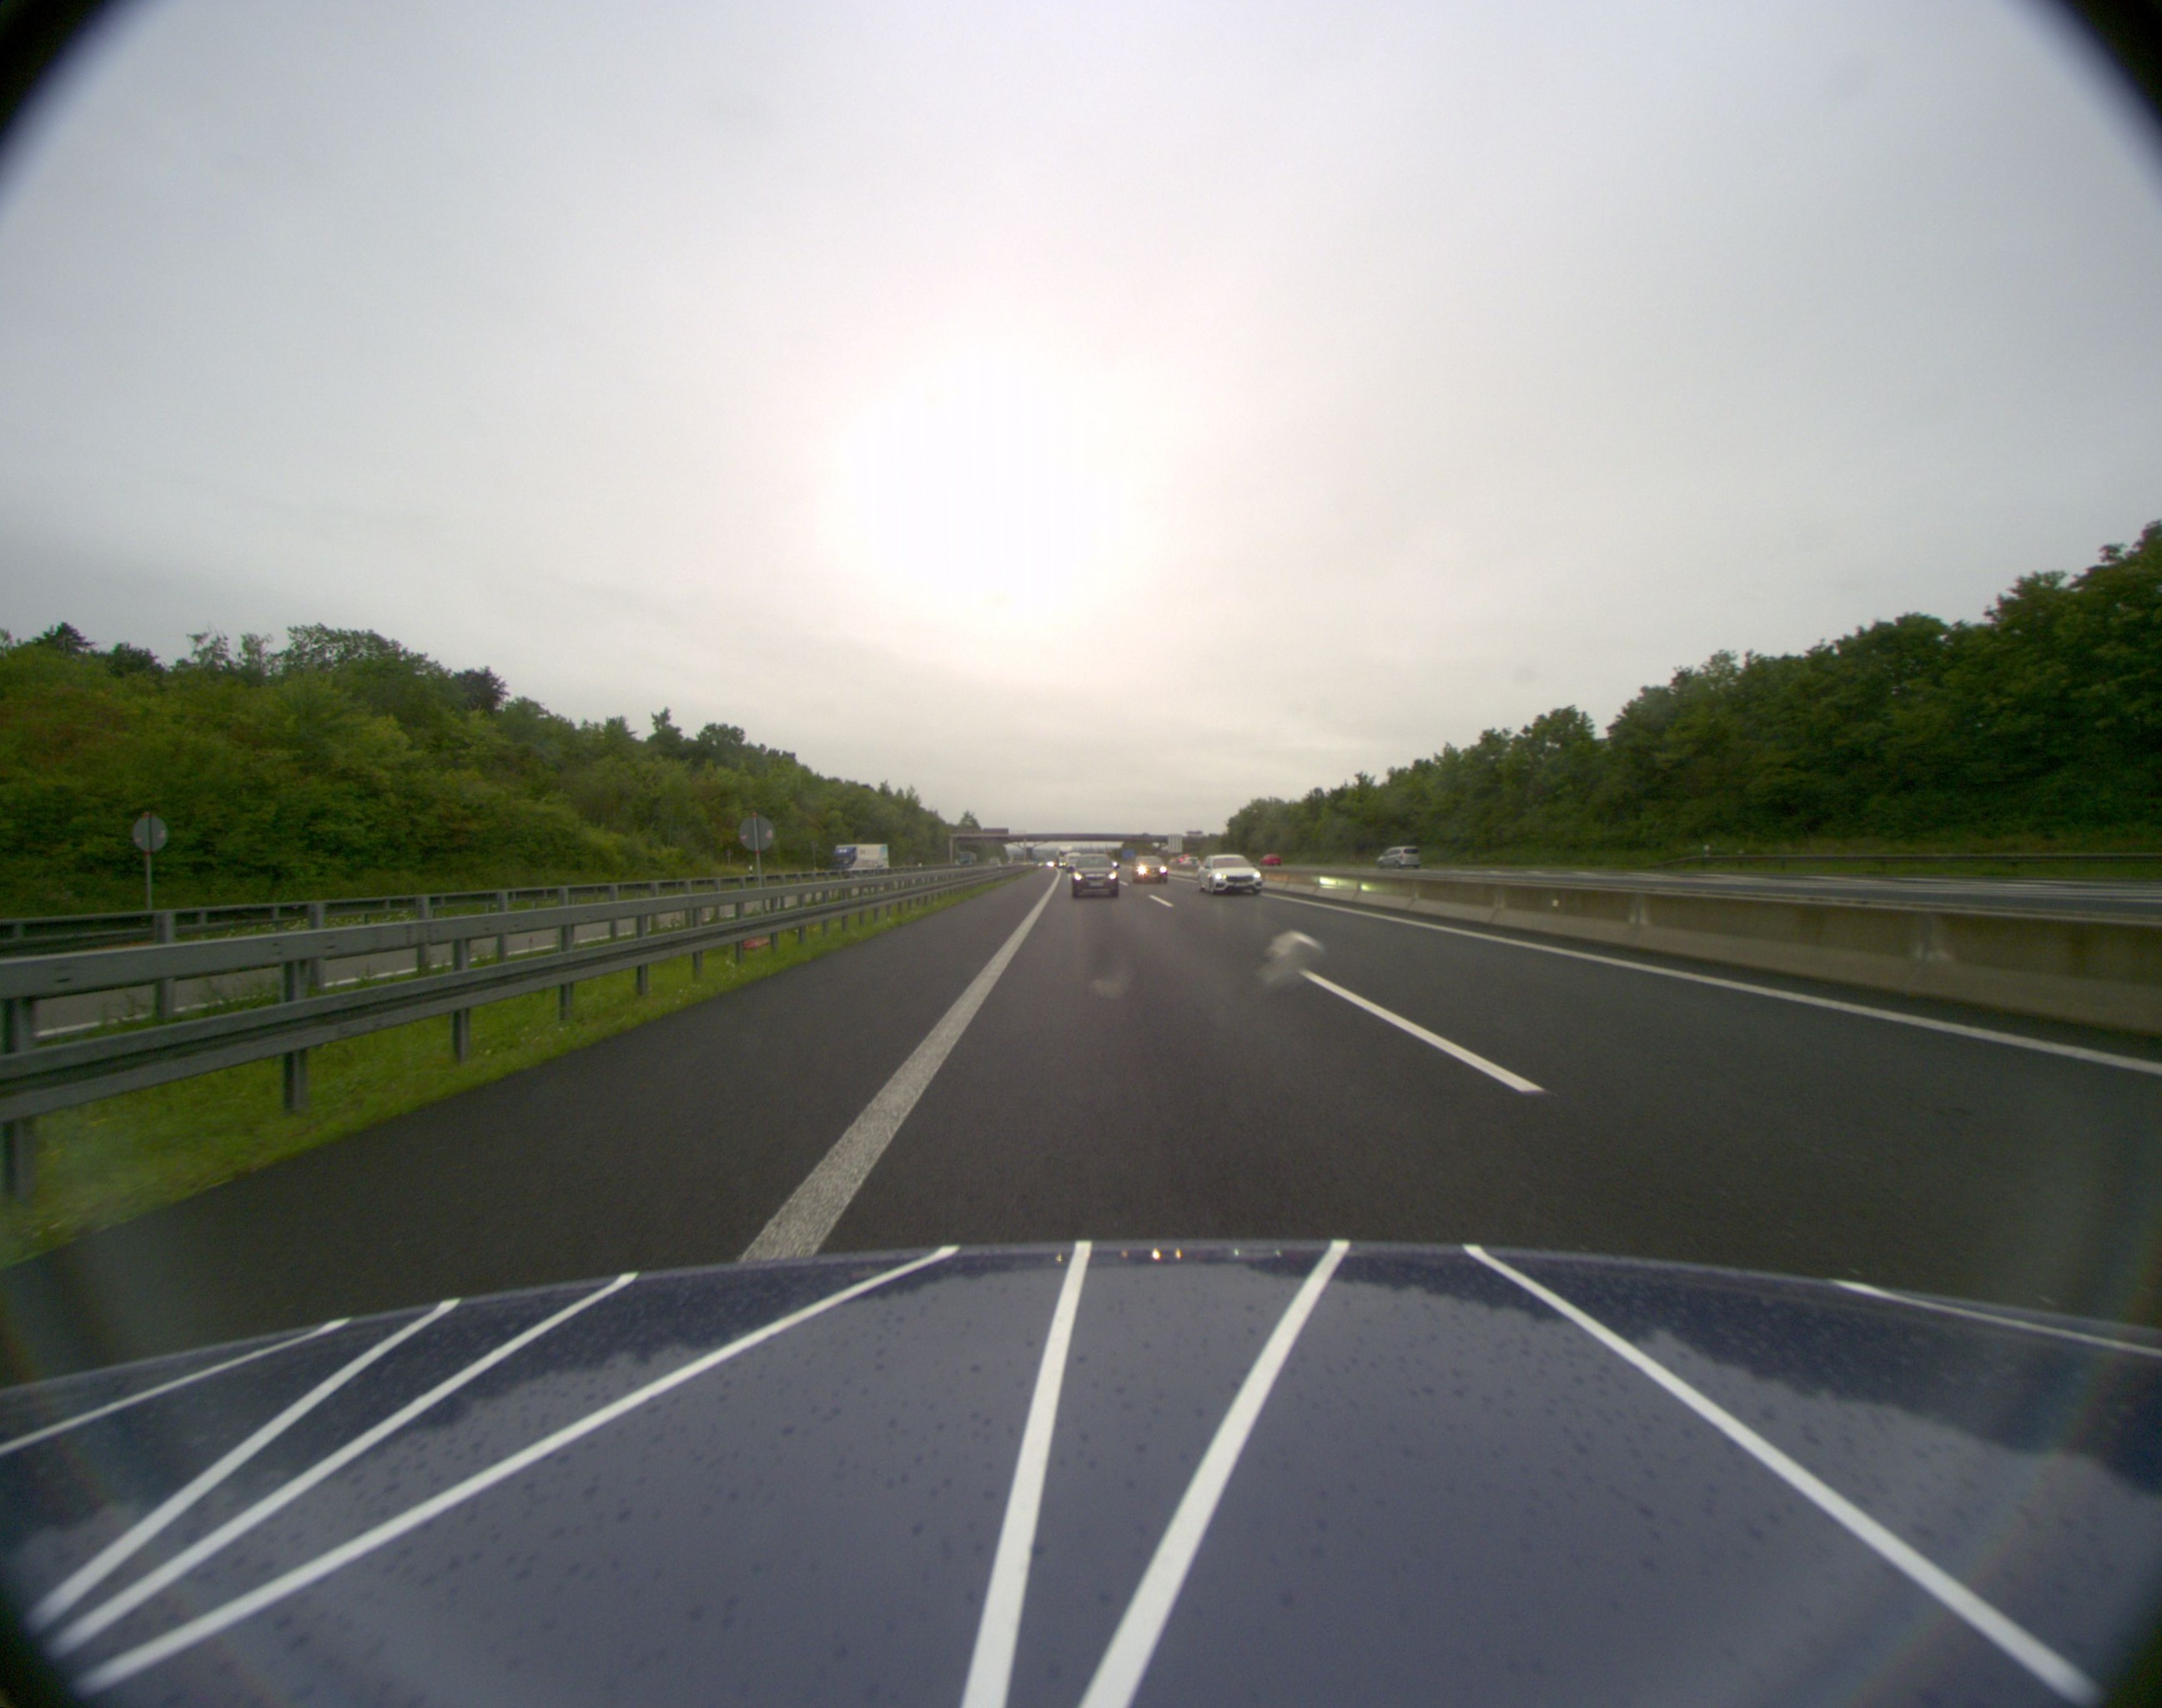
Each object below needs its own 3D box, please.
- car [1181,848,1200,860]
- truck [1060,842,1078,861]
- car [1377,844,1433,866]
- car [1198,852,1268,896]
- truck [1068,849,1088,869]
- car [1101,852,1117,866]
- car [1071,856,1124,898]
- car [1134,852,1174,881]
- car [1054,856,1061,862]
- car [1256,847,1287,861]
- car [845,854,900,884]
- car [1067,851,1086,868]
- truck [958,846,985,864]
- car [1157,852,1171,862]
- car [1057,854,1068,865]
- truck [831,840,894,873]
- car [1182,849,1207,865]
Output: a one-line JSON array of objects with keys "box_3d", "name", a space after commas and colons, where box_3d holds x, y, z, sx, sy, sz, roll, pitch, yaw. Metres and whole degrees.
[{"box_3d": [15.854, 0.033, 109.976, 2.185, 1.686, 4.733, -1, 0, 3], "name": "car"}, {"box_3d": [-2.170, -0.431, 143.339, 3.154, 3.332, 13.098, -2, 0, -1], "name": "truck"}, {"box_3d": [26.676, 0.064, 62.768, 2.187, 1.686, 4.565, -1, 0, -8], "name": "car"}, {"box_3d": [5.682, 0.706, 28.885, 1.905, 1.497, 4.114, -1, 0, 1], "name": "car"}, {"box_3d": [-0.332, 0.598, 87.763, 2.175, 2.214, 5.642, -1, 0, 1], "name": "truck"}, {"box_3d": [3.563, 0.597, 96.783, 1.716, 1.724, 3.999, -1, 0, -1], "name": "car"}, {"box_3d": [0.641, 0.839, 30.098, 1.905, 1.497, 4.114, -1, 0, 1], "name": "car"}, {"box_3d": [4.079, 0.689, 42.975, 1.905, 1.497, 4.114, -1, 0, 1], "name": "car"}, {"box_3d": [-6.979, 1.428, 223.616, 1.917, 1.671, 4.000, -1, 0, 1], "name": "car"}, {"box_3d": [24.227, 0.000, 96.832, 2.187, 1.686, 4.624, -1, 0, -10], "name": "car"}, {"box_3d": [-12.354, 0.869, 45.343, 2.013, 1.645, 4.472, -1, 0, 0], "name": "car"}, {"box_3d": [-0.451, 0.537, 80.447, 1.825, 1.669, 4.000, -2, 0, 1], "name": "car"}, {"box_3d": [-21.938, 0.207, 153.018, 2.908, 3.397, 13.355, -1, 0, 2], "name": "truck"}, {"box_3d": [15.163, 0.502, 139.247, 2.185, 1.686, 5.251, -1, 0, 3], "name": "car"}, {"box_3d": [-2.949, 0.880, 124.323, 1.716, 1.724, 3.999, -1, 0, -1], "name": "car"}, {"box_3d": [-24.275, 0.246, 85.029, 2.906, 3.397, 9.289, -1, 0, 11], "name": "truck"}, {"box_3d": [12.525, 0.319, 84.064, 2.185, 1.686, 4.865, -1, 0, 3], "name": "car"}]
